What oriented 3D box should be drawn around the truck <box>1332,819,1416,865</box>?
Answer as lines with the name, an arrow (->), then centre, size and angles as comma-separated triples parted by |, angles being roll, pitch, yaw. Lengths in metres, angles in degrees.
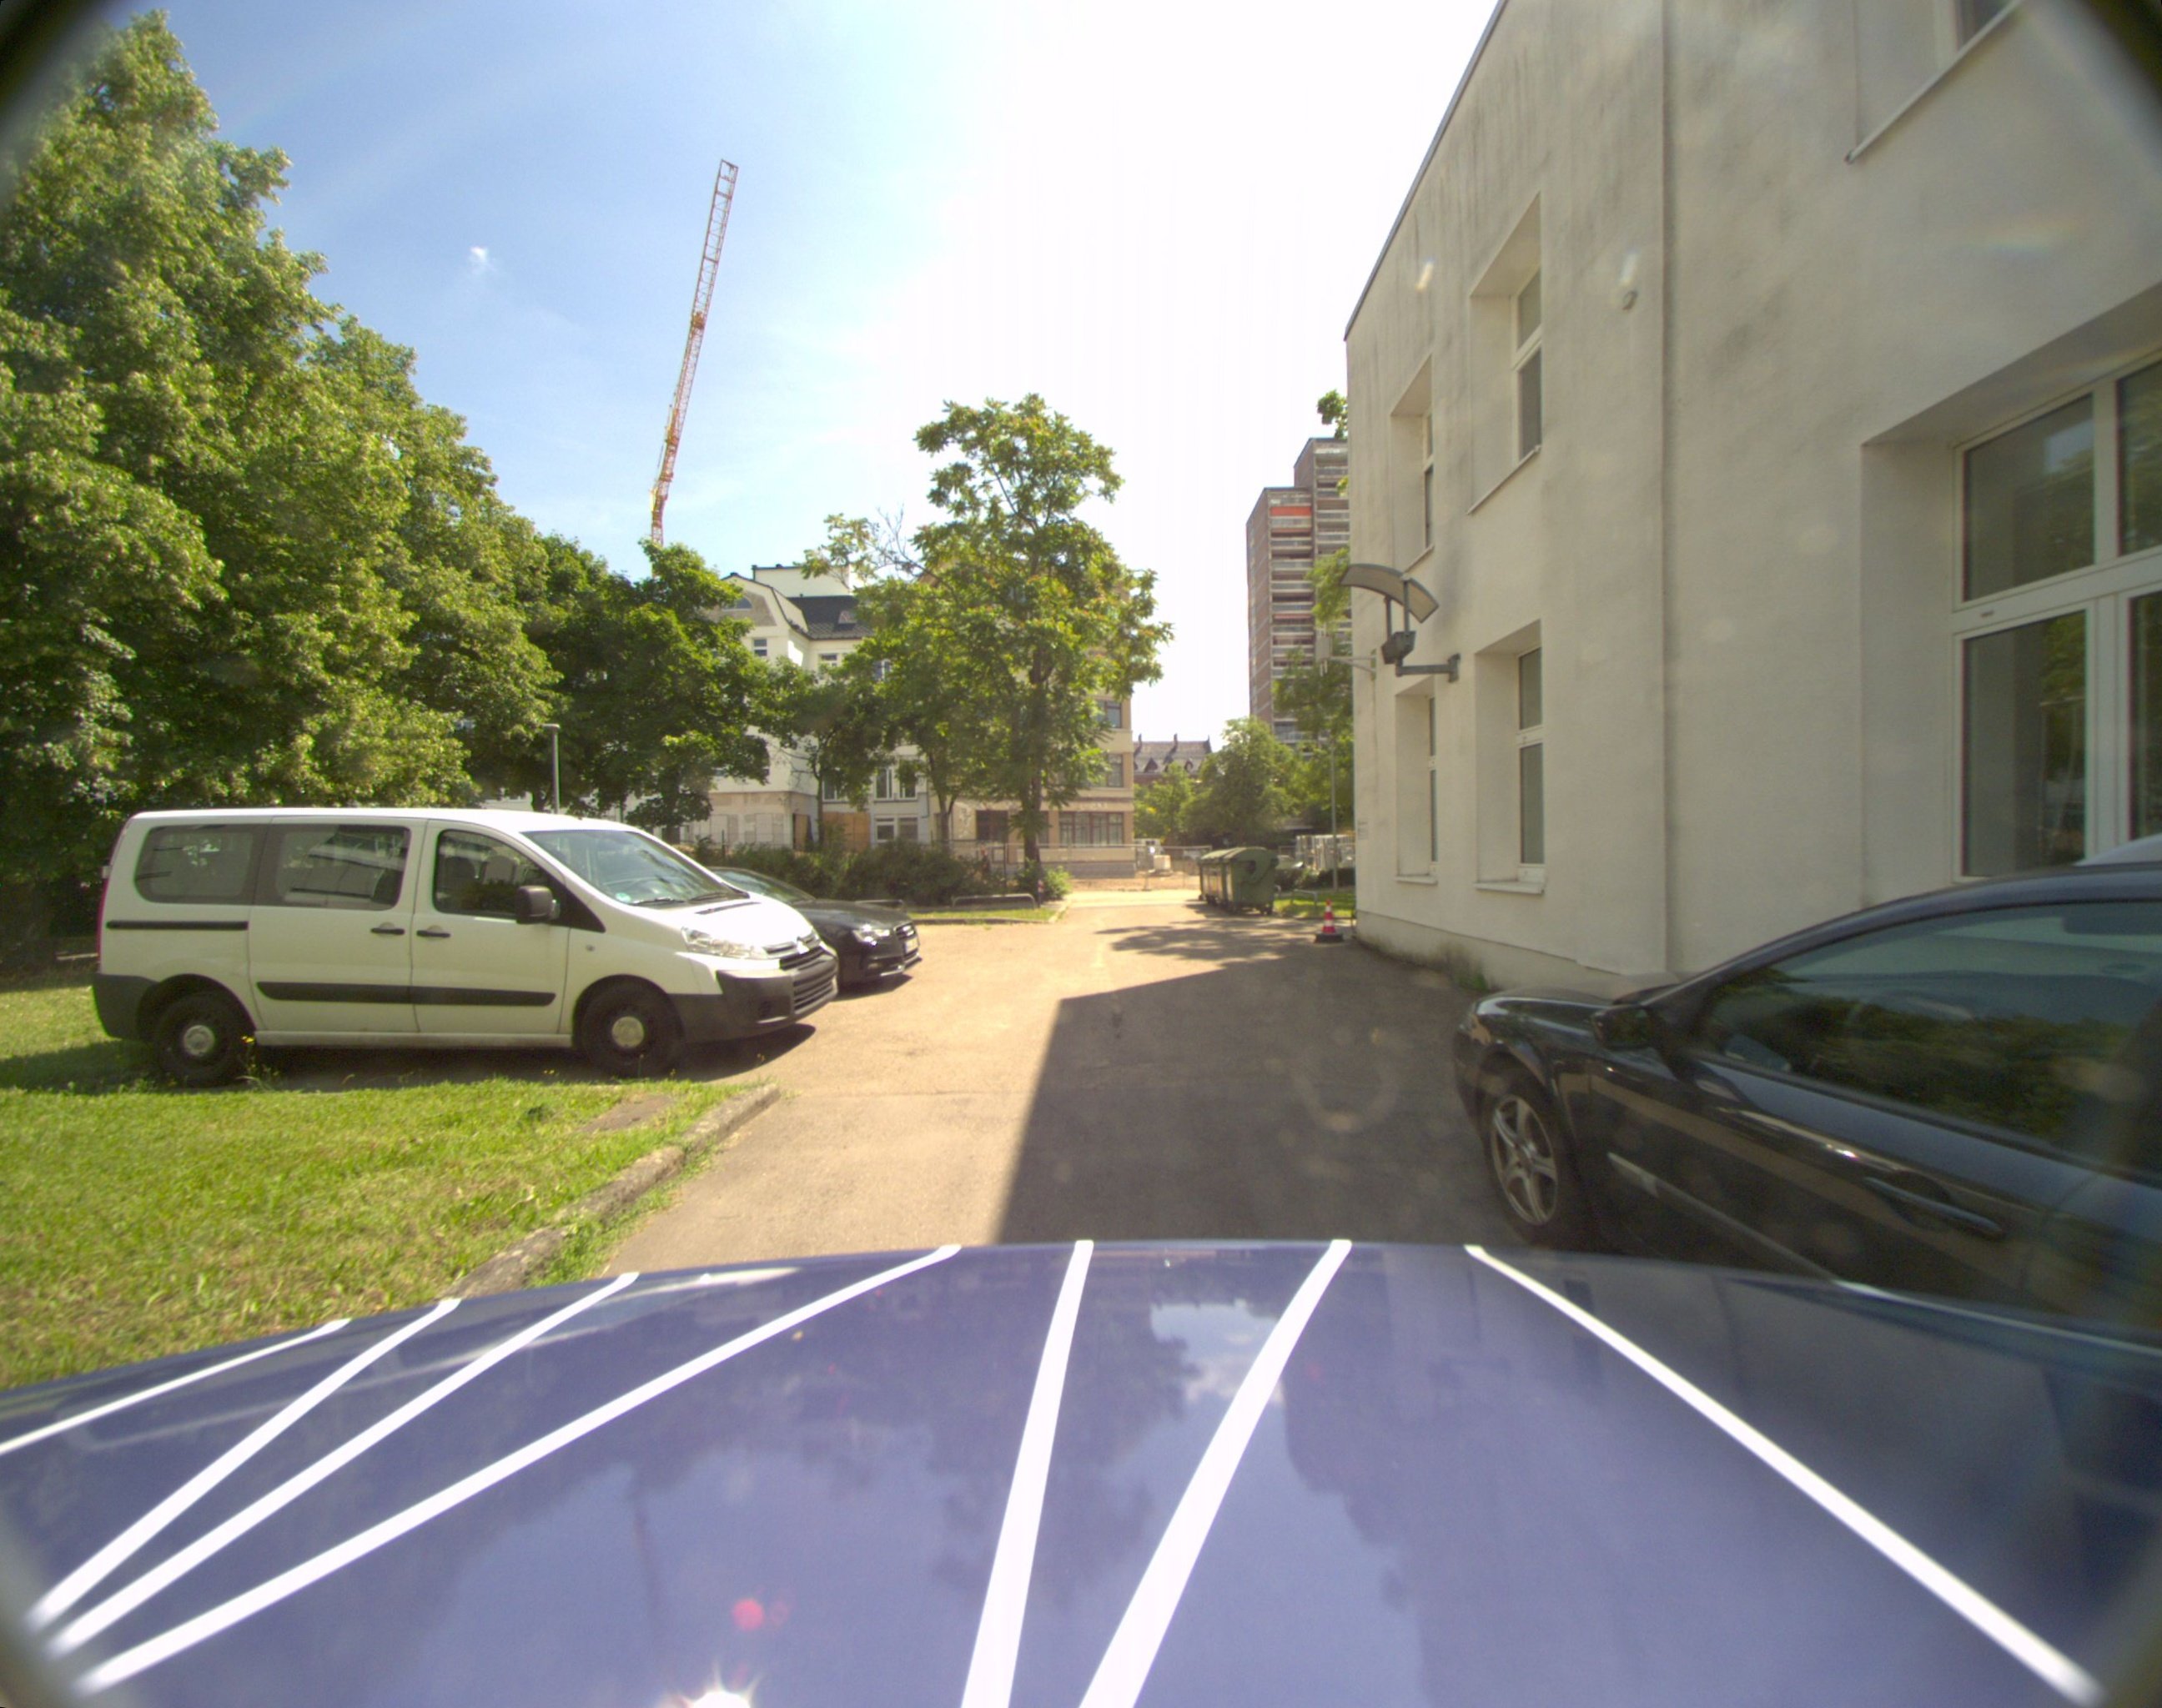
truck -> 27.515, -1.056, 71.903 | 2.751, 3.982, 9.736 | -2, 0, -10

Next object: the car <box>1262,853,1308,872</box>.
car -> 15.976, 0.624, 59.562 | 1.624, 1.431, 3.576 | -1, 0, -22

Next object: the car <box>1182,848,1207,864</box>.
car -> 14.827, 0.223, 99.187 | 1.995, 2.002, 4.007 | -1, 0, 29

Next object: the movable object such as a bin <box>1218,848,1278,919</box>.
movable object such as a bin -> 3.630, 0.621, 16.671 | 1.047, 1.471, 1.410 | -1, 0, 2

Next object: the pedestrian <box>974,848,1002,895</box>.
pedestrian -> -3.657, 0.679, 29.846 | 0.968, 1.809, 0.869 | -1, 0, -15

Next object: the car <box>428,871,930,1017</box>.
car -> -4.216, 0.924, 8.499 | 4.622, 1.344, 1.834 | -1, 0, 2

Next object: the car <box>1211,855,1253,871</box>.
car -> 15.782, 0.935, 79.634 | 2.003, 1.597, 4.390 | -1, 0, -29

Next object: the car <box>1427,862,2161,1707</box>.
car -> 2.311, 0.757, 1.112 | 1.759, 1.421, 4.387 | -1, 0, 3

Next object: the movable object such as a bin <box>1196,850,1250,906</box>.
movable object such as a bin -> 3.874, 0.638, 20.903 | 1.207, 1.471, 1.325 | -1, 0, -1

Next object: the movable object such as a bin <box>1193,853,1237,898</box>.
movable object such as a bin -> 4.335, 0.669, 24.476 | 1.113, 1.386, 1.162 | -1, 0, 25

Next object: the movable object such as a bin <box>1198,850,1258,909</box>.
movable object such as a bin -> 3.763, 0.633, 19.550 | 1.096, 1.471, 1.359 | -1, 0, -9

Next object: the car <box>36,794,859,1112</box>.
car -> -4.450, 0.657, 5.933 | 4.770, 2.002, 2.000 | -1, 1, 3

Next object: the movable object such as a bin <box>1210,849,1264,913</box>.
movable object such as a bin -> 3.707, 0.627, 18.163 | 1.047, 1.471, 1.262 | -1, 0, 2

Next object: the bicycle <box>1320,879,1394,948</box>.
bicycle -> 4.282, 0.893, 11.916 | 0.613, 0.952, 1.730 | -1, 0, 3
